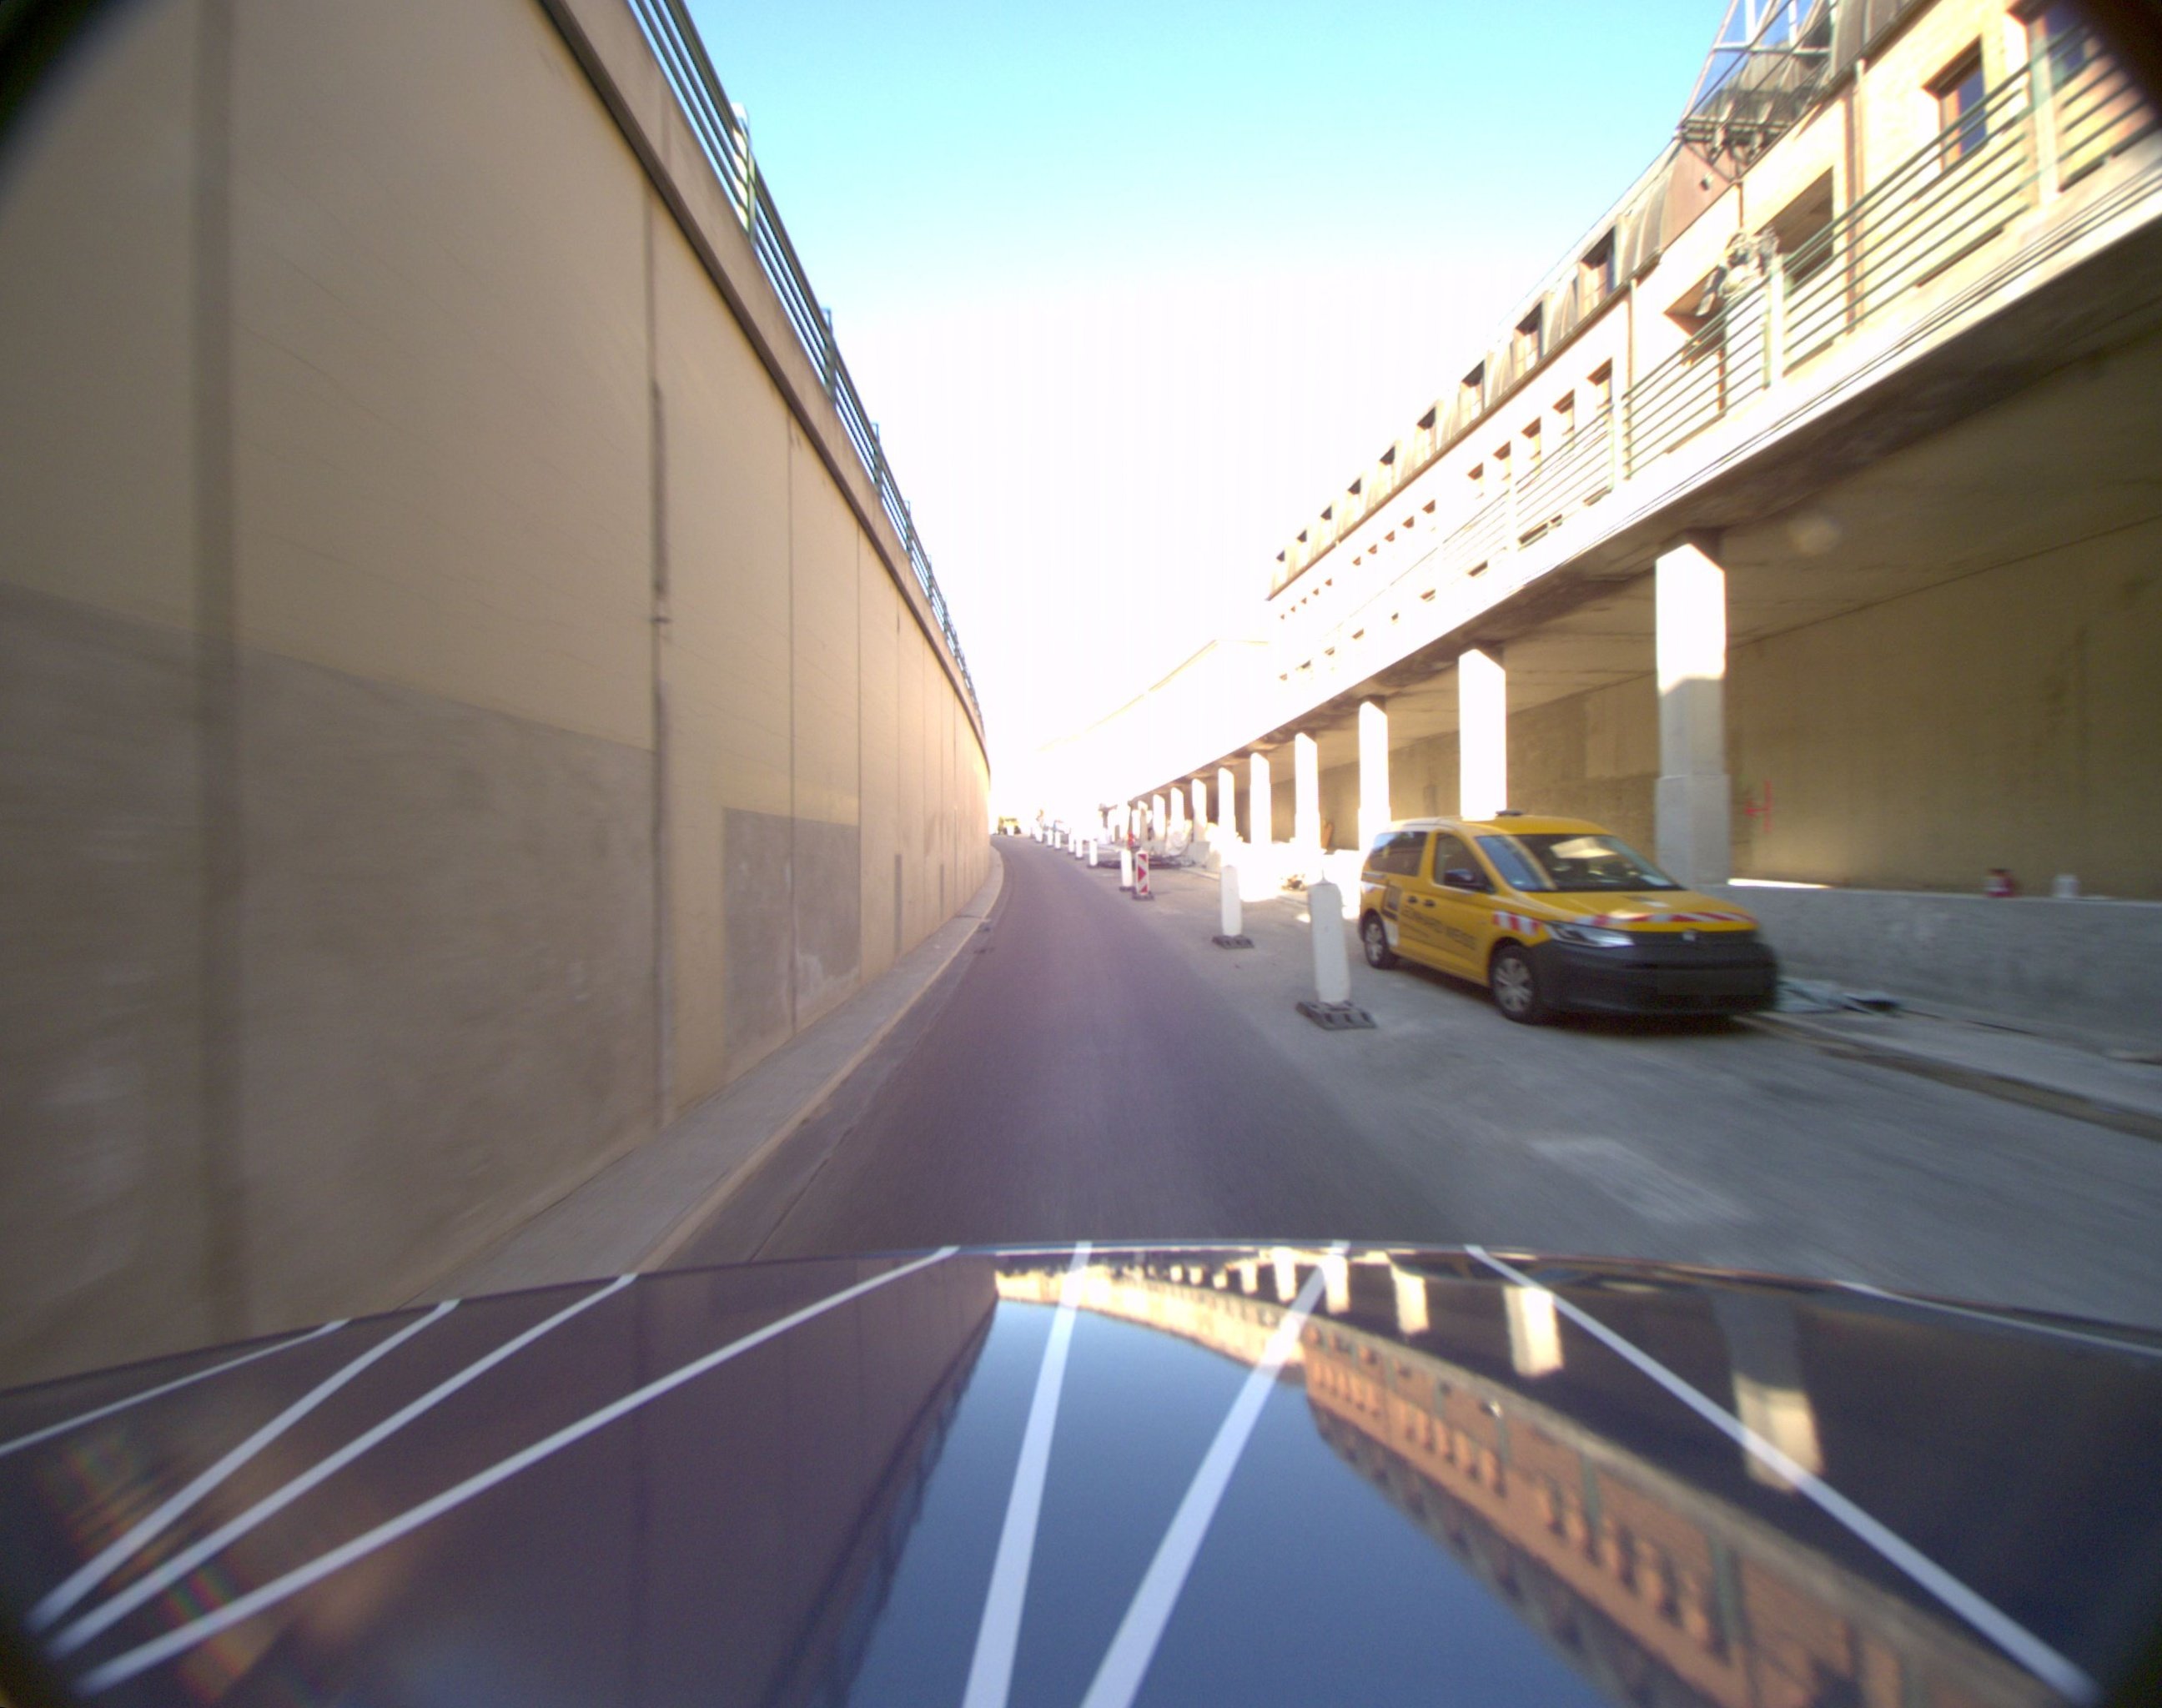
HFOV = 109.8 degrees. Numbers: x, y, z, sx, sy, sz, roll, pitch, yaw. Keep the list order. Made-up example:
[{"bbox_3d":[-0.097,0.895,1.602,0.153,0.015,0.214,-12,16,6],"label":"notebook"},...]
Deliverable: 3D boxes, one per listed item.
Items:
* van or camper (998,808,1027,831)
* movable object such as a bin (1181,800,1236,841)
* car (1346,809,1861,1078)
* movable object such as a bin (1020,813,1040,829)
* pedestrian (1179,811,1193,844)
[{"bbox_3d":[-8.426,-4.155,92.713,2.202,2.599,6.812,-4,3,-15],"label":"van or camper"},{"bbox_3d":[6.619,-1.741,39.637,1.891,1.976,3.154,-2,3,-9],"label":"movable object such as a bin"},{"bbox_3d":[4.323,0.571,7.351,1.853,1.765,4.432,-2,1,-1],"label":"car"},{"bbox_3d":[-8.119,-5.131,120.353,2.108,2.381,4.300,1,1,-17],"label":"movable object such as a bin"},{"bbox_3d":[5.847,-1.473,42.304,0.658,1.795,0.624,-2,4,1],"label":"pedestrian"}]
